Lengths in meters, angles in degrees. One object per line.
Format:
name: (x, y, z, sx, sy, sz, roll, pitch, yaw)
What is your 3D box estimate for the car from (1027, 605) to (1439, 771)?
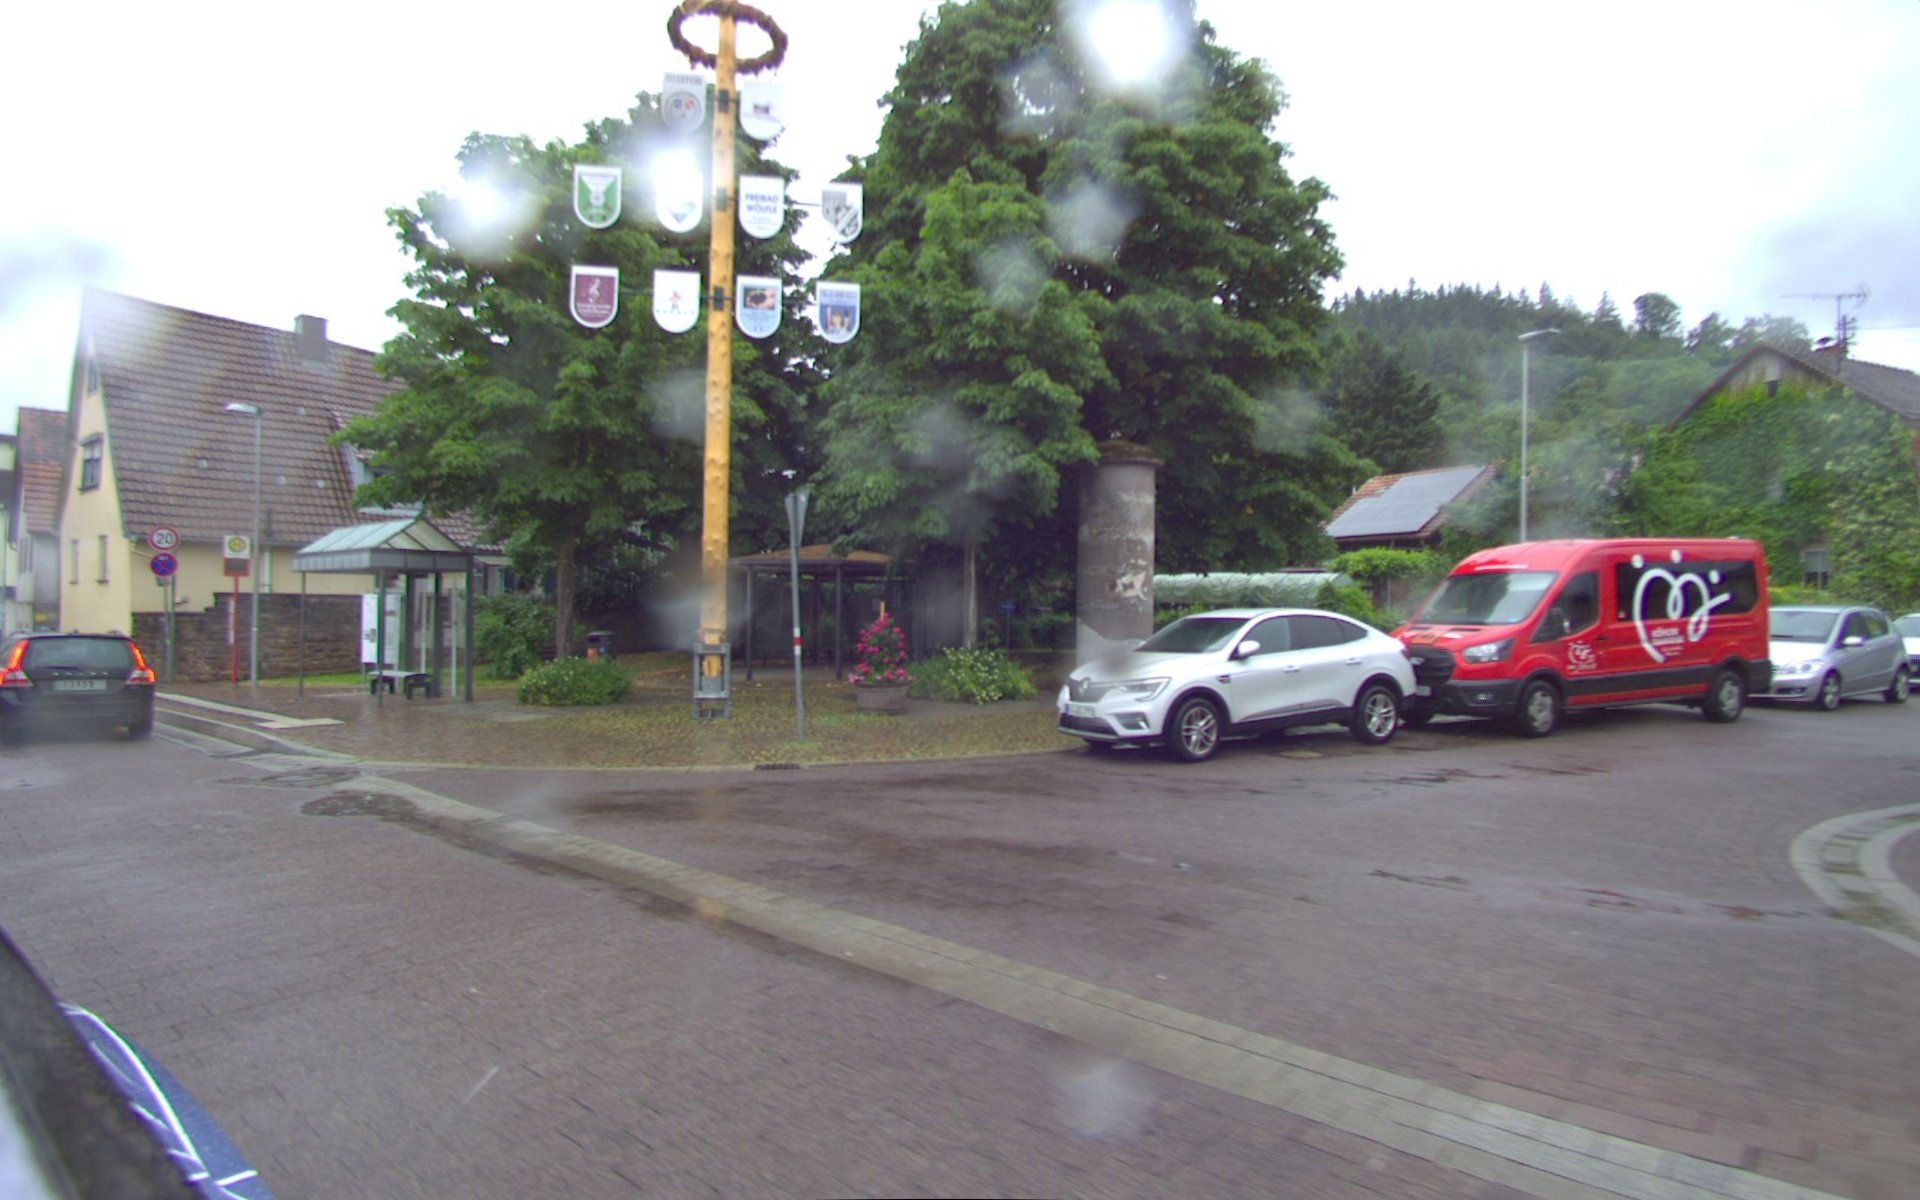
car: (3.143, 0.866, 11.528, 4.383, 1.561, 1.888, 0, -1, -27)

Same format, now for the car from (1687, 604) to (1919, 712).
car: (13.754, 0.859, 16.297, 3.745, 1.561, 1.807, 1, -1, -27)

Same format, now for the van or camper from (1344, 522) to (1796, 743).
van or camper: (8.177, 0.359, 13.523, 5.776, 2.492, 2.162, 0, 0, -23)

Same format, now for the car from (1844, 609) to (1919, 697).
car: (18.674, 0.965, 18.949, 3.745, 1.561, 1.807, 1, -1, -25)

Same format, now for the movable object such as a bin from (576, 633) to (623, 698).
movable object such as a bin: (-6.610, 1.186, 18.546, 0.604, 1.155, 0.556, 1, -1, 40)

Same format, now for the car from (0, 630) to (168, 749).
car: (-13.121, 1.209, 14.614, 4.311, 1.488, 1.825, -2, -3, 41)
